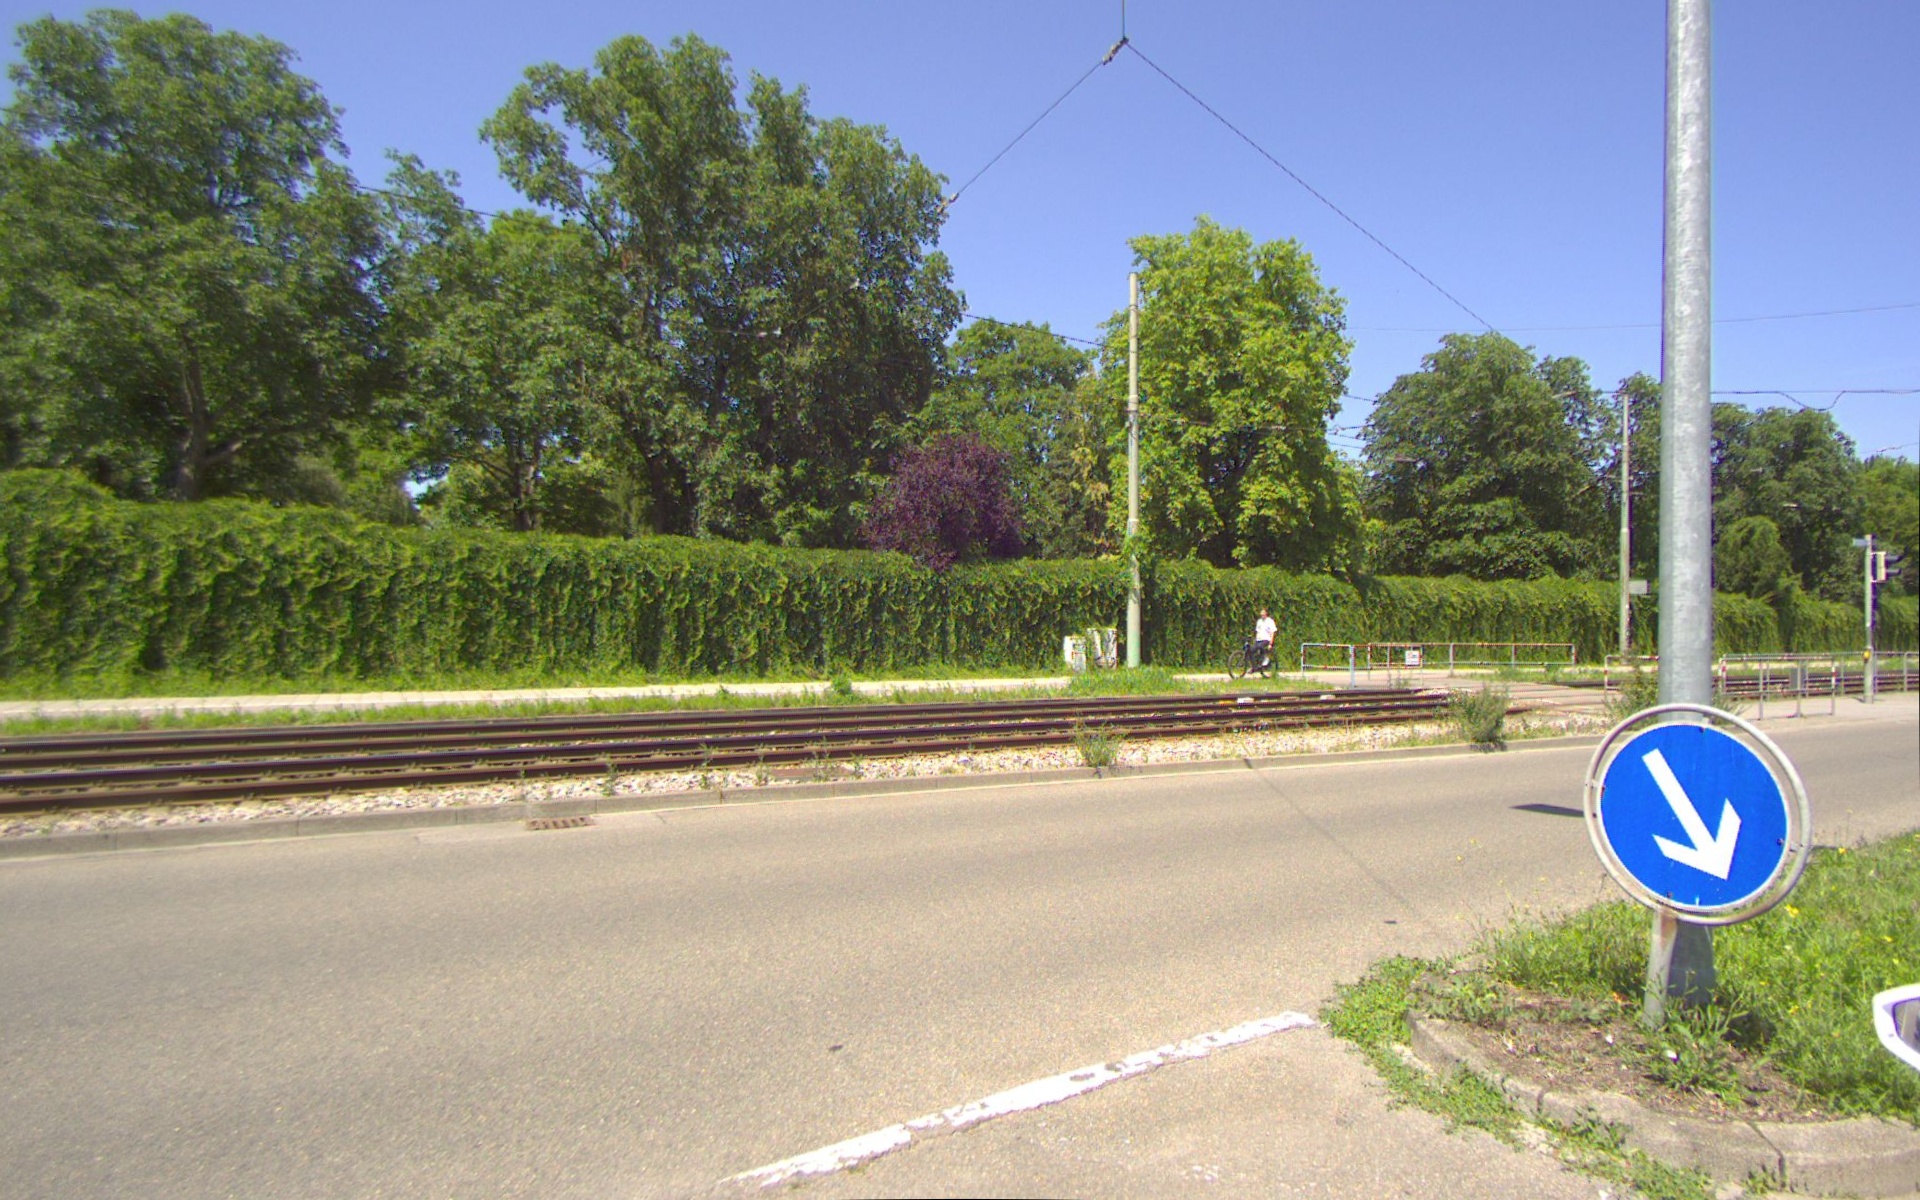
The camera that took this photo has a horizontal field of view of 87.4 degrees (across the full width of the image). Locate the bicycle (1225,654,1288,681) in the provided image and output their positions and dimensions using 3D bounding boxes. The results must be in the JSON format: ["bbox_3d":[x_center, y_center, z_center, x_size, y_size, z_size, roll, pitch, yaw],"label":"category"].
[{"bbox_3d":[7.715,1.754,26.125,1.699,0.656,0.558,1,-1,-29],"label":"bicycle"}]

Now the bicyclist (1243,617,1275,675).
[{"bbox_3d":[7.797,1.183,26.190,0.554,1.497,0.555,1,-1,-29],"label":"bicyclist"}]
